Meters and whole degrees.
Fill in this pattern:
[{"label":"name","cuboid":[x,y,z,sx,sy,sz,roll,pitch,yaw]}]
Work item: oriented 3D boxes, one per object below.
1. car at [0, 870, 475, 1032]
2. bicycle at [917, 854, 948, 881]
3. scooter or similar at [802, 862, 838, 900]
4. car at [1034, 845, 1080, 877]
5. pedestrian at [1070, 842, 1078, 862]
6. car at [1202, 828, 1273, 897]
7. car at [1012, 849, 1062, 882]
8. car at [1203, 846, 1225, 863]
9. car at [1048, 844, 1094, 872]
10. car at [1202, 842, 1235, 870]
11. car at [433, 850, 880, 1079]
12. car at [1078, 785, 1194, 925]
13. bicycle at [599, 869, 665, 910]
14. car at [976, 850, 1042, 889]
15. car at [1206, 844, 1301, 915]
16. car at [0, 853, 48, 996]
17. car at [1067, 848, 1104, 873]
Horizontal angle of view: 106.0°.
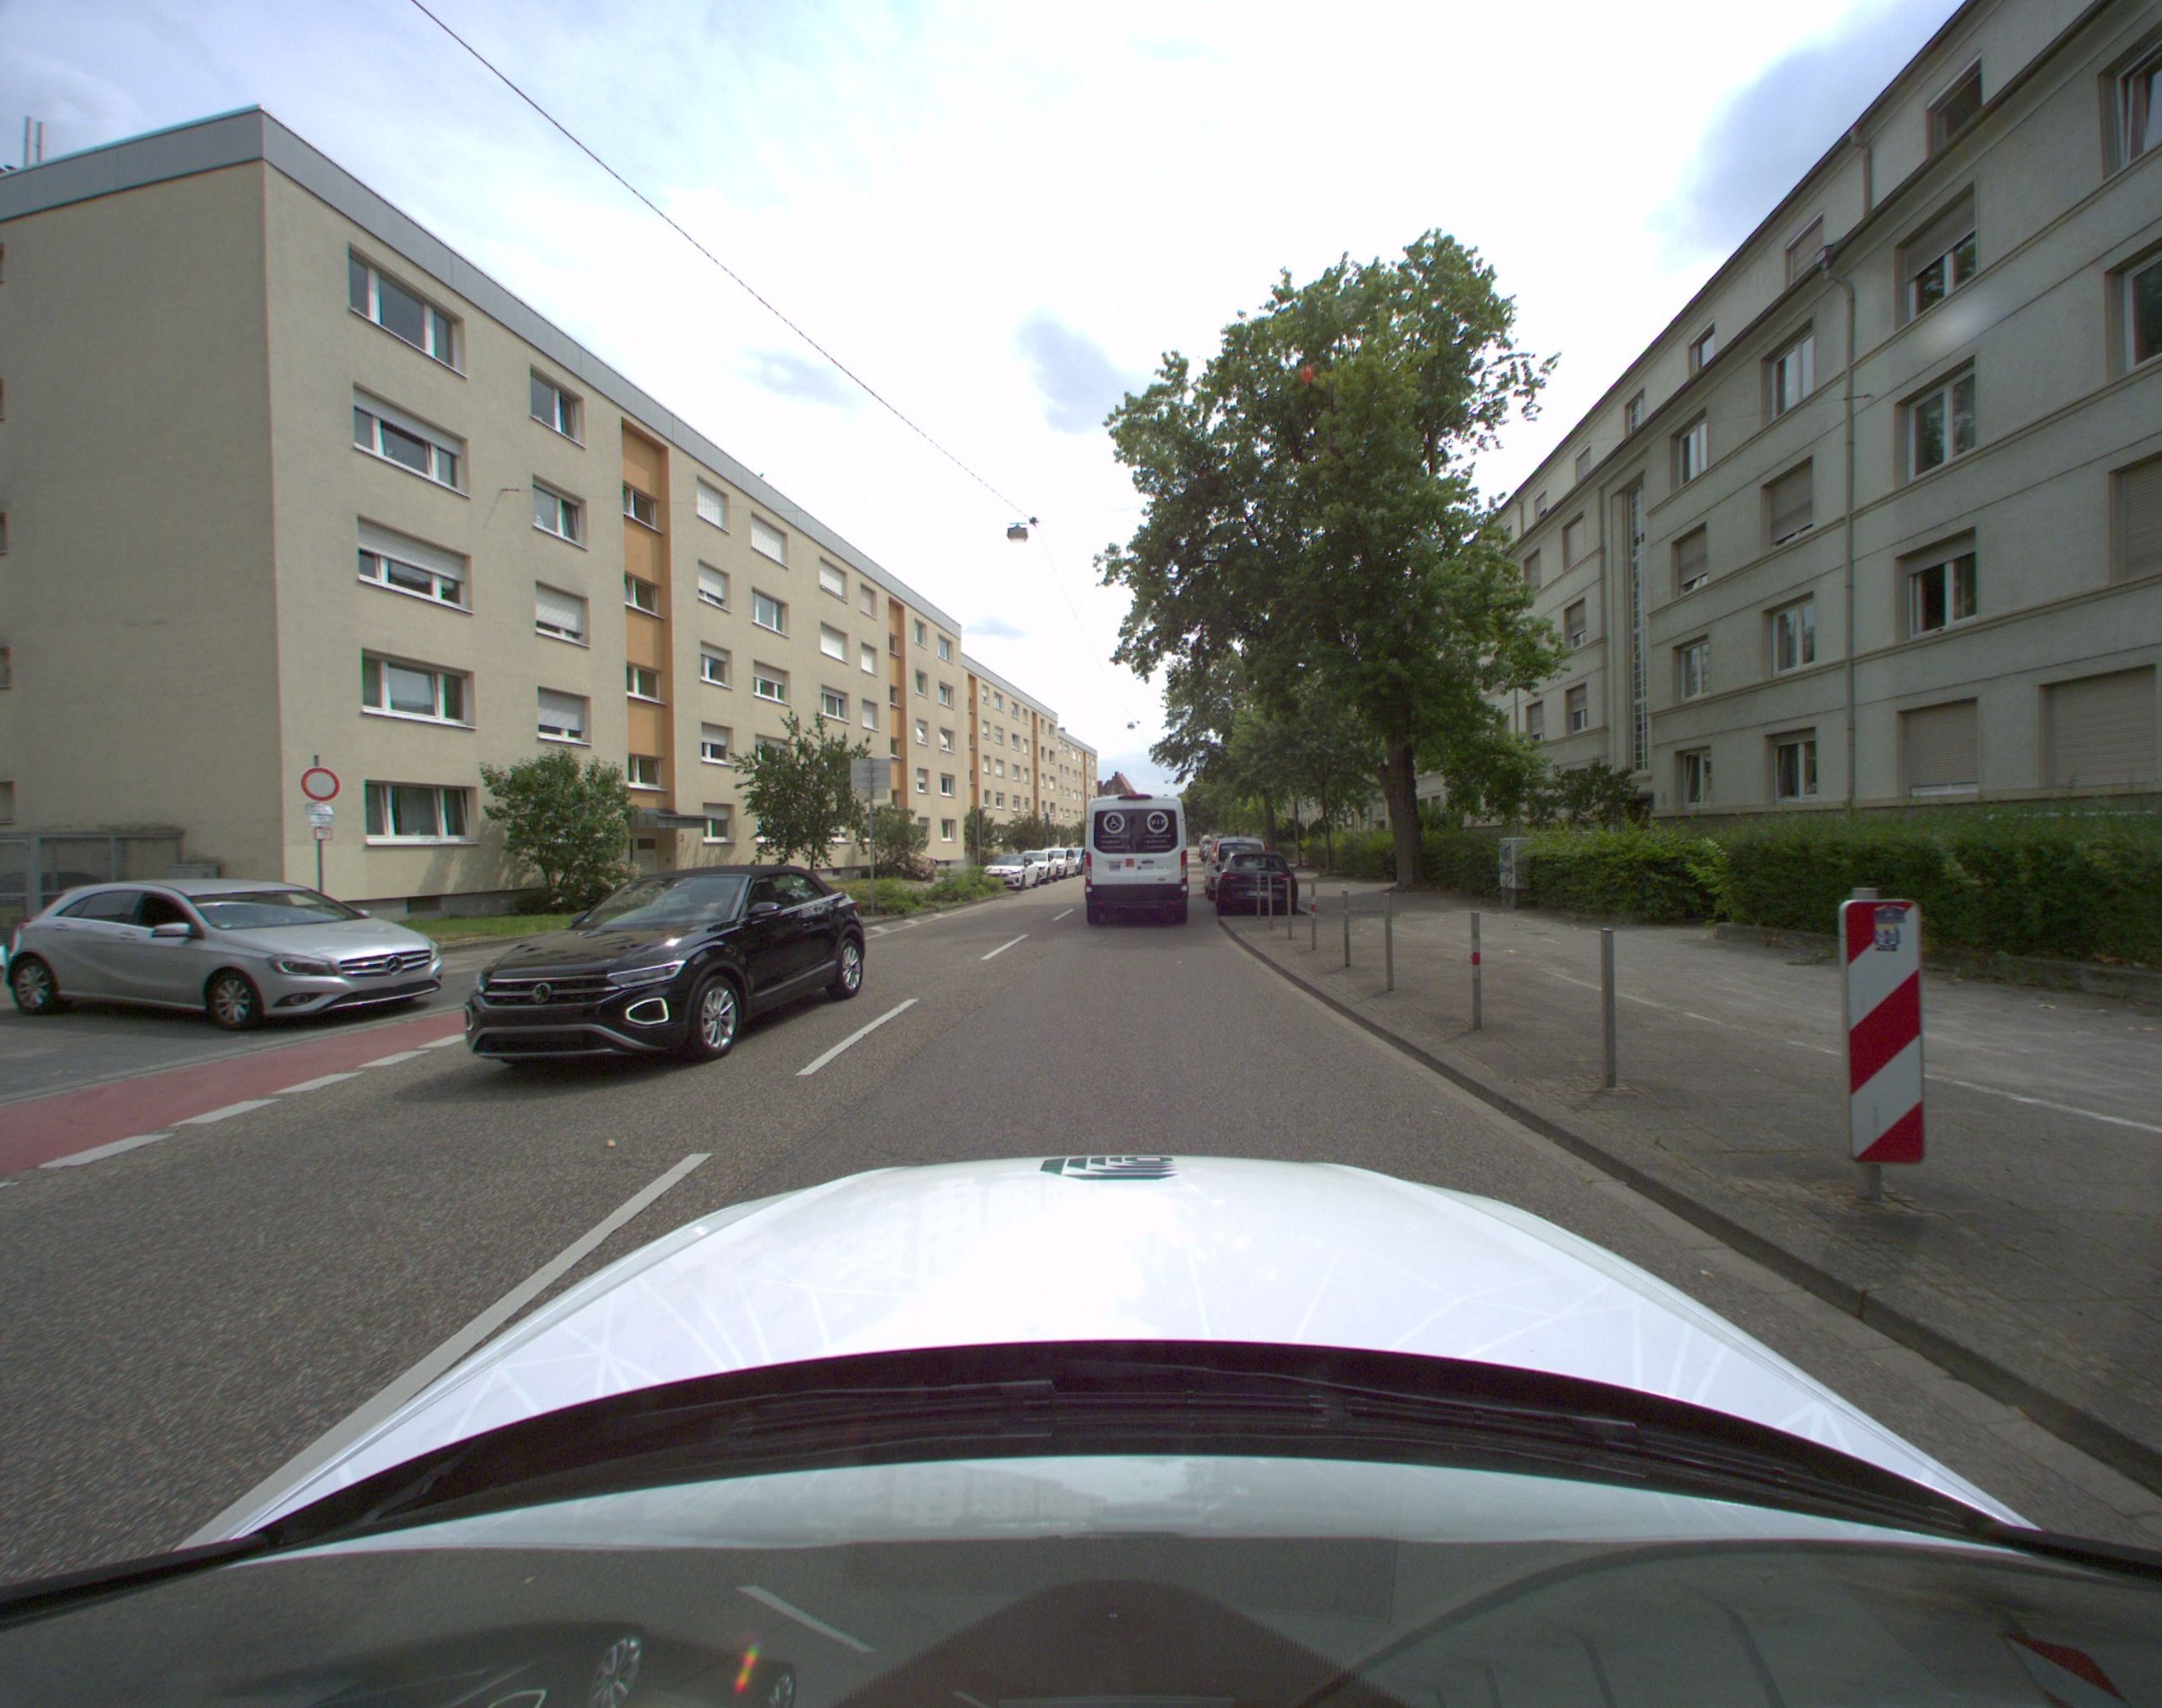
[{"label":"car","cuboid":[-9.502,0.974,9.231,4.145,1.450,1.855,1,1,10]},{"label":"bicycle","cuboid":[-7.358,0.659,40.412,0.574,1.251,1.943,-1,1,19]},{"label":"scooter or similar","cuboid":[-8.573,0.883,26.788,0.398,1.193,1.296,0,0,20]},{"label":"car","cuboid":[-1.267,0.342,44.391,1.687,1.612,4.488,0,1,9]},{"label":"pedestrian","cuboid":[-0.649,-0.162,73.910,0.616,1.813,0.901,0,0,6]},{"label":"car","cuboid":[4.653,0.204,24.551,1.906,1.865,4.859,0,1,9]},{"label":"car","cuboid":[-2.046,0.510,38.782,1.699,1.473,3.997,0,1,6]},{"label":"car","cuboid":[11.816,0.044,72.374,1.768,1.469,4.629,0,1,11]},{"label":"car","cuboid":[-0.568,0.209,49.615,1.930,1.612,4.875,0,1,10]},{"label":"car","cuboid":[7.443,0.088,44.311,1.687,1.469,4.111,0,1,9]},{"label":"car","cuboid":[-3.496,0.781,7.706,1.688,1.518,4.008,-2,0,7]},{"label":"car","cuboid":[1.280,0.022,17.427,2.059,2.540,4.643,-2,0,6]},{"label":"bicycle","cuboid":[-12.513,0.972,22.741,0.408,1.038,1.813,-2,0,17]},{"label":"car","cuboid":[-2.881,0.598,33.407,1.698,1.473,4.000,0,1,10]},{"label":"car","cuboid":[3.901,0.510,18.894,1.906,1.444,4.250,0,0,9]},{"label":"car","cuboid":[-15.110,0.937,9.588,4.597,1.686,1.856,-2,0,14]},{"label":"car","cuboid":[0.340,0.425,55.355,1.931,1.612,4.313,0,1,9]}]
